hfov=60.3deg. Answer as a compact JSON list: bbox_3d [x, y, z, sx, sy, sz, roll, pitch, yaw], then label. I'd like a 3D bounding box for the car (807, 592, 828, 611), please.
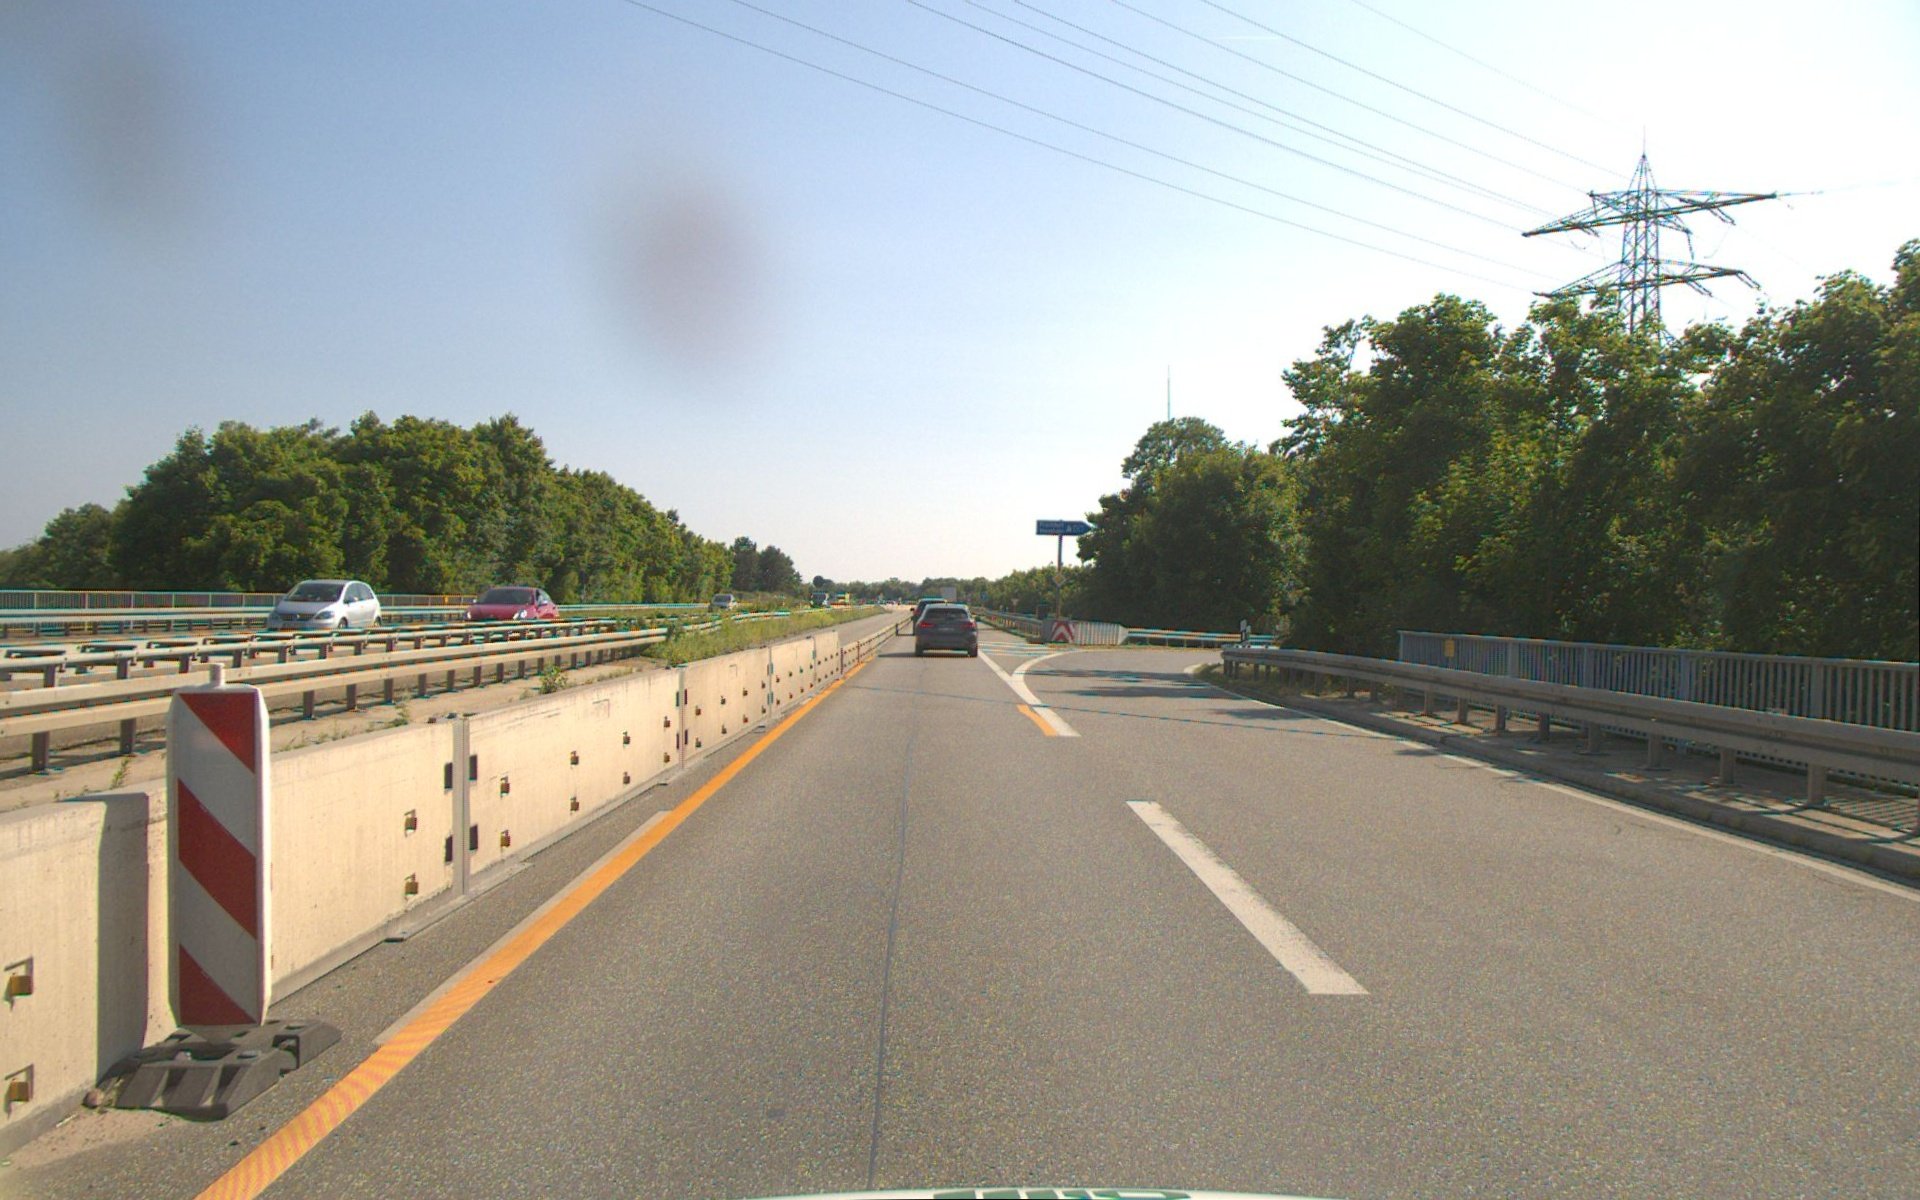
[{"bbox_3d":[-15.959,0.191,185.535,1.953,2.070,5.167,0,0,-1],"label":"car"}]

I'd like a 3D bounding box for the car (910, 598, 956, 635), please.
[{"bbox_3d":[-1.193,0.705,73.729,1.953,1.594,3.999,0,0,-1],"label":"car"}]

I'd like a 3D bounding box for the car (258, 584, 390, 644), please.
[{"bbox_3d":[-15.712,0.332,41.080,1.741,1.417,4.125,0,0,-1],"label":"car"}]

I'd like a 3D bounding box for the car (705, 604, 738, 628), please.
[{"bbox_3d":[-16.836,1.122,117.021,1.727,1.611,4.421,0,0,-1],"label":"car"}]

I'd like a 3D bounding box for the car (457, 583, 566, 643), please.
[{"bbox_3d":[-11.255,0.319,41.768,1.679,1.421,4.219,1,0,-2],"label":"car"}]

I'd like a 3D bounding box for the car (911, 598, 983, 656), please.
[{"bbox_3d":[-0.421,0.727,47.002,1.882,1.520,3.998,2,0,-2],"label":"car"}]
